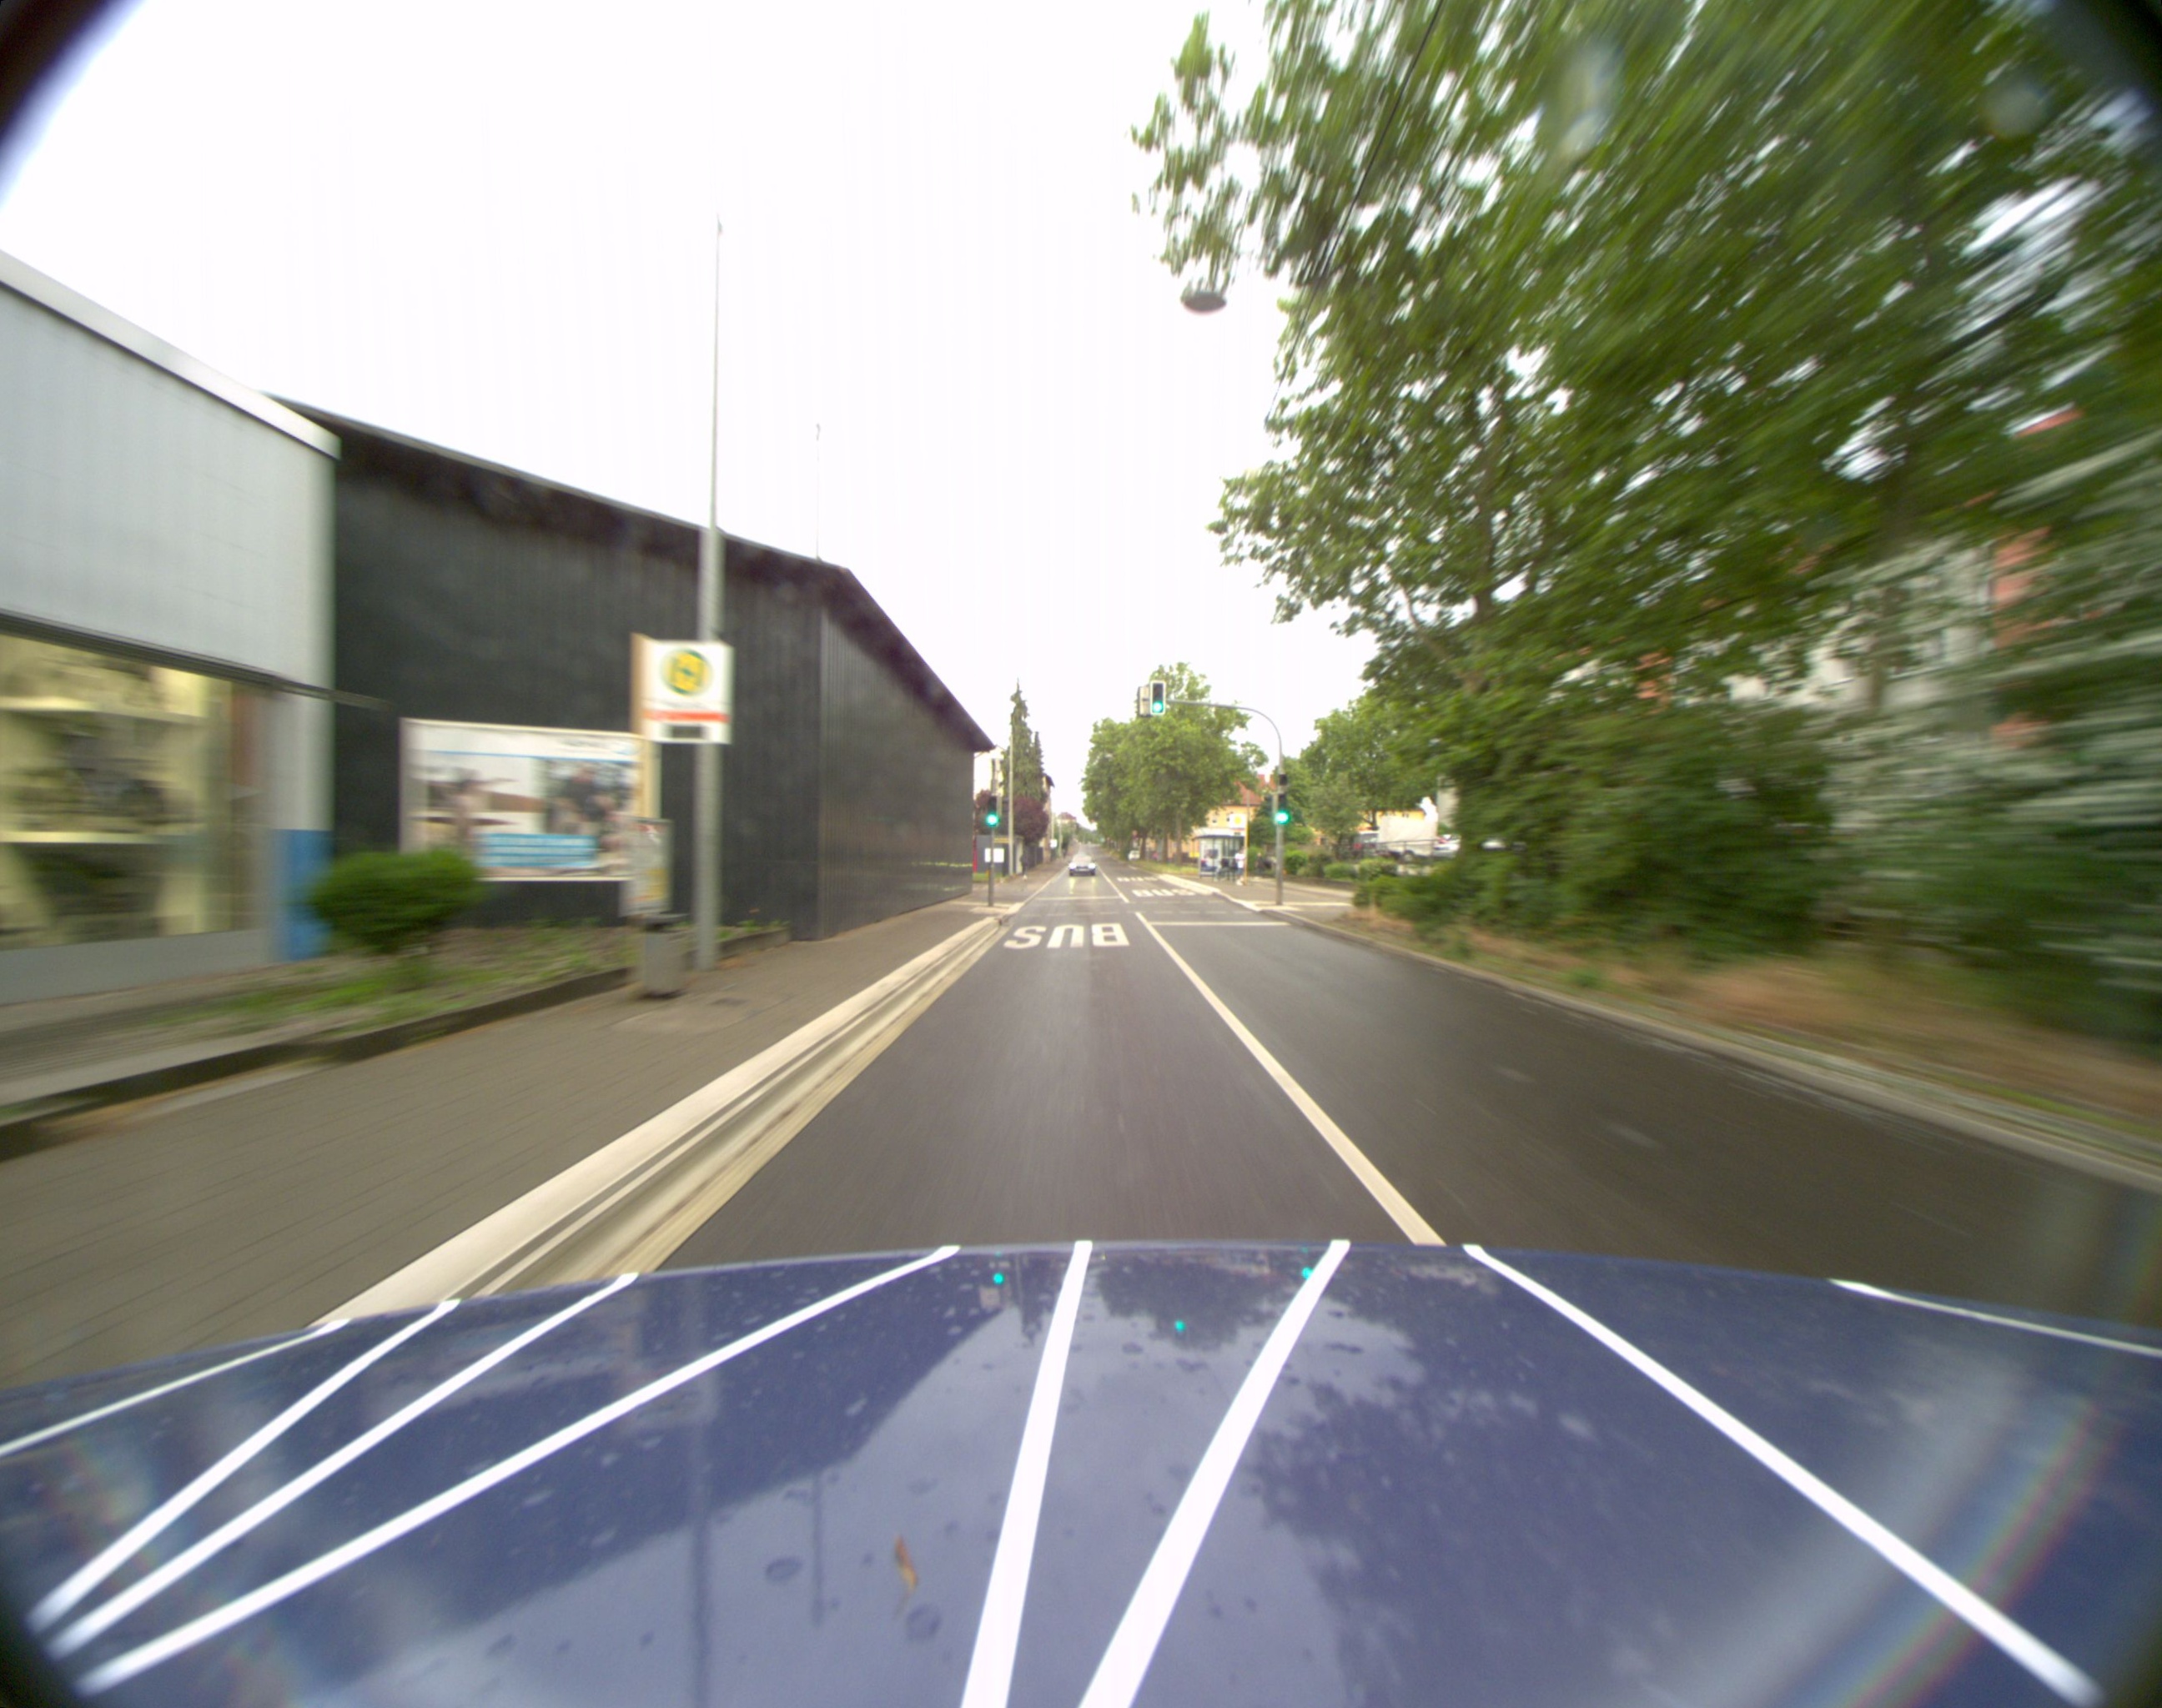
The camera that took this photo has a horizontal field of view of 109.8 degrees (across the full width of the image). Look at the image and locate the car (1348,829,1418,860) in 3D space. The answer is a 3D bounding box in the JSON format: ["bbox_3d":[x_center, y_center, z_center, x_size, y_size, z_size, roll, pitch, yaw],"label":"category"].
[{"bbox_3d":[15.973,-0.536,40.315,3.138,1.534,1.436,-1,2,0],"label":"car"}]

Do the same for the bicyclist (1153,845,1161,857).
[{"bbox_3d":[10.147,-0.342,101.053,0.815,1.544,0.836,0,3,22],"label":"bicyclist"}]

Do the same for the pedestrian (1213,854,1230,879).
[{"bbox_3d":[7.606,0.667,41.167,0.777,1.310,0.641,2,3,4],"label":"pedestrian"}]

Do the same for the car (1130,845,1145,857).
[{"bbox_3d":[7.745,-0.392,104.765,1.790,1.542,4.351,0,1,0],"label":"car"}]

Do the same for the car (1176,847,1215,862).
[{"bbox_3d":[13.497,0.022,89.348,4.218,1.530,1.981,-2,2,-1],"label":"car"}]

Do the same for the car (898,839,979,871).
[{"bbox_3d":[-10.388,0.076,55.709,5.582,2.198,2.000,1,0,-1],"label":"car"}]

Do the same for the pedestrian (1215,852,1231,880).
[{"bbox_3d":[7.514,0.633,40.208,0.689,1.410,0.641,3,3,4],"label":"pedestrian"}]

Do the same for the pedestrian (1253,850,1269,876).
[{"bbox_3d":[11.591,0.587,49.002,0.757,1.602,0.834,-2,3,-4],"label":"pedestrian"}]

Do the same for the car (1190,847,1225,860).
[{"bbox_3d":[15.676,-0.062,94.286,4.108,1.489,1.958,-1,1,2],"label":"car"}]

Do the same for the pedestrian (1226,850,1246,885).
[{"bbox_3d":[7.323,0.614,35.872,0.743,1.589,0.606,4,3,4],"label":"pedestrian"}]

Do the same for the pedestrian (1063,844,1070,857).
[{"bbox_3d":[-2.213,-0.526,117.895,1.045,1.887,0.900,0,3,1],"label":"pedestrian"}]

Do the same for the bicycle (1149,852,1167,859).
[{"bbox_3d":[10.228,0.208,101.065,2.260,0.990,0.557,-1,3,22],"label":"bicycle"}]

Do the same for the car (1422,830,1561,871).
[{"bbox_3d":[15.823,-0.164,29.422,4.366,1.416,1.859,-1,2,0],"label":"car"}]

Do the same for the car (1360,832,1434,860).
[{"bbox_3d":[15.871,-0.414,38.270,3.138,1.263,1.436,-1,2,0],"label":"car"}]

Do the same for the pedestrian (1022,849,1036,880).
[{"bbox_3d":[-2.923,0.586,42.687,0.744,1.695,0.901,-2,2,-5],"label":"pedestrian"}]

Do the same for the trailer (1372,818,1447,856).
[{"bbox_3d":[14.658,-0.764,34.025,2.711,1.636,1.480,-1,2,1],"label":"trailer"}]

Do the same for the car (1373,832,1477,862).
[{"bbox_3d":[16.269,-0.345,36.074,4.099,1.295,1.809,-1,2,0],"label":"car"}]

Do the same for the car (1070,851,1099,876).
[{"bbox_3d":[0.237,0.690,53.422,1.949,1.644,3.859,0,-1,0],"label":"car"}]
